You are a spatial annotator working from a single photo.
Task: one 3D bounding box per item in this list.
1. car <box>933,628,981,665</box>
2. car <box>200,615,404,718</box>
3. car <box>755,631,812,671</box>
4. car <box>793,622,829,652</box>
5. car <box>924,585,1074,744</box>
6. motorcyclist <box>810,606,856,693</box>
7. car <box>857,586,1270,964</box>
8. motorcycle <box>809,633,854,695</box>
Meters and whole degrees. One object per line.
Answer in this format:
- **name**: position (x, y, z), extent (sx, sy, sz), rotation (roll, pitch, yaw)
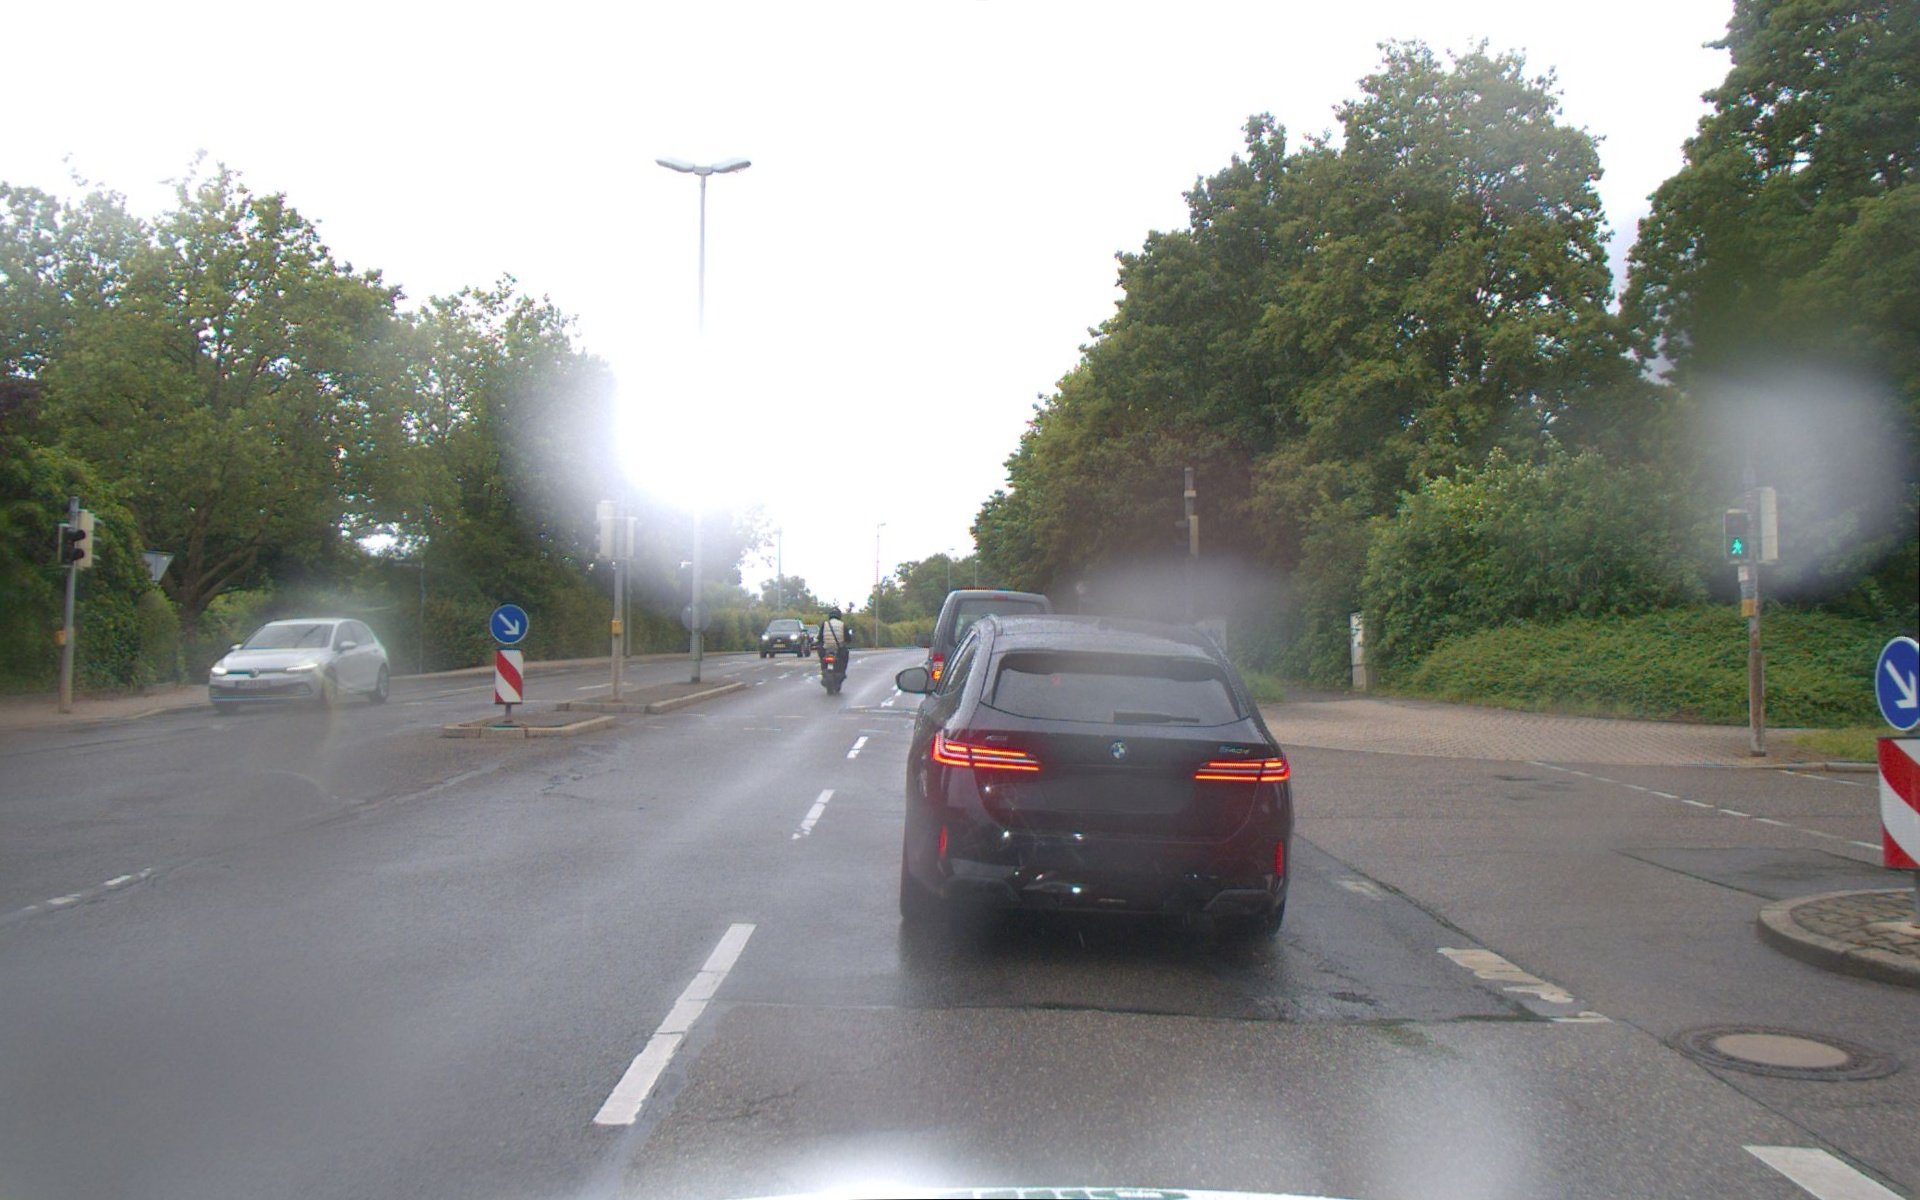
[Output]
- **car**: position (-0.105, 2.008, 71.978), extent (1.973, 1.440, 4.486), rotation (1, 0, 1)
- **car**: position (-10.736, 1.034, 27.316), extent (1.692, 1.511, 4.156), rotation (-1, 0, 0)
- **car**: position (-7.381, 2.134, 69.503), extent (1.984, 1.590, 3.876), rotation (-1, -1, -1)
- **car**: position (-8.417, 2.094, 93.889), extent (1.758, 1.631, 3.730), rotation (-1, -1, -1)
- **car**: position (0.480, 0.756, 21.498), extent (1.730, 1.841, 3.905), rotation (1, 0, 1)
- **motorcyclist**: position (-2.483, 0.970, 32.357), extent (0.828, 1.676, 0.468), rotation (1, 0, 0)
- **car**: position (0.460, 0.754, 8.856), extent (1.728, 1.563, 3.673), rotation (1, 0, 1)
- **motorcycle**: position (-2.499, 1.231, 32.277), extent (0.726, 1.139, 1.426), rotation (1, 0, 1)
